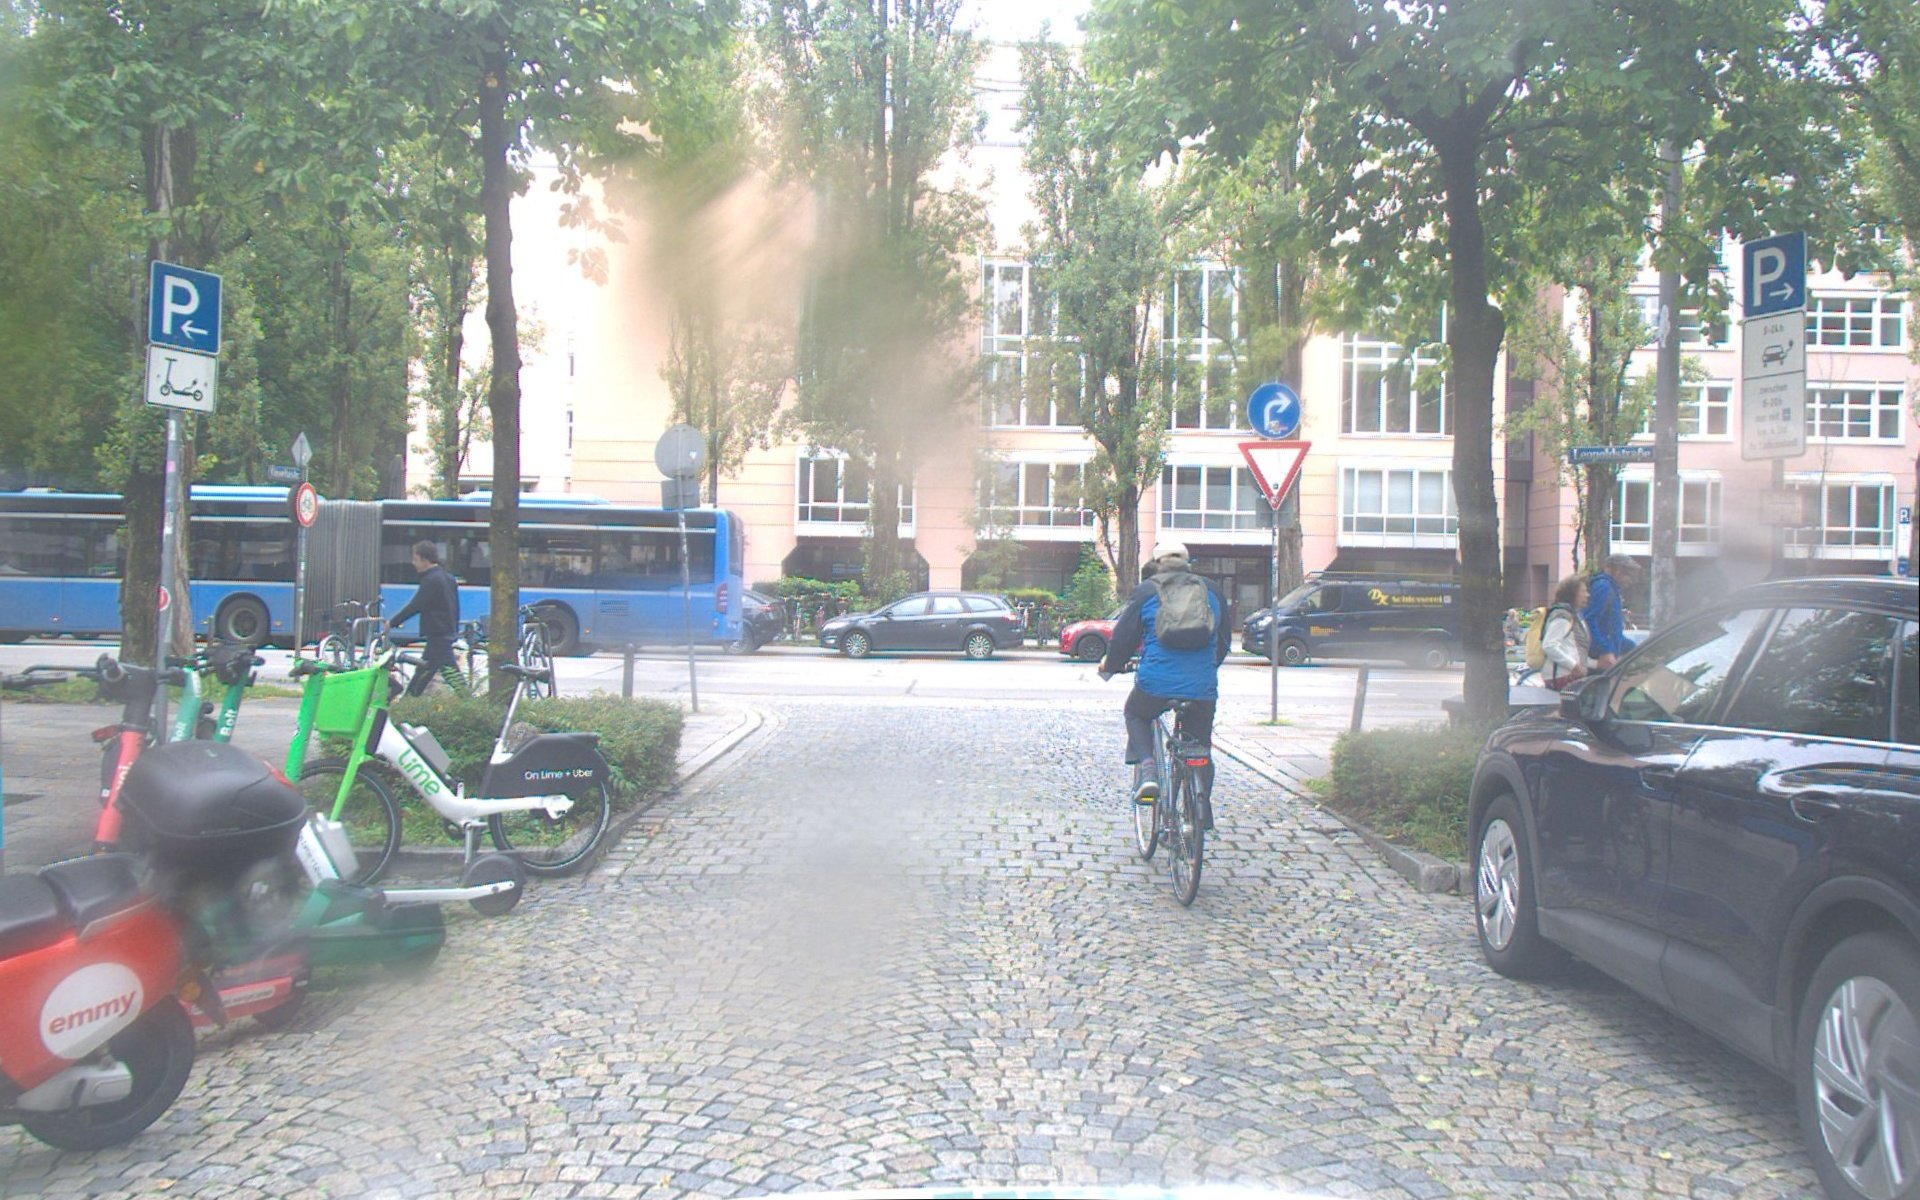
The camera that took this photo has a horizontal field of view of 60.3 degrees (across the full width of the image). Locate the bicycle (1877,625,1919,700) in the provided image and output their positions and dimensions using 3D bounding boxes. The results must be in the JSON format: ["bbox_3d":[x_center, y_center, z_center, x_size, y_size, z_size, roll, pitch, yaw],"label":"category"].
[{"bbox_3d":[11.008,0.705,18.673,0.460,0.832,1.835,1,0,6],"label":"bicycle"}]

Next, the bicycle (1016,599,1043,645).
[{"bbox_3d":[1.793,0.546,42.618,0.660,1.144,1.742,1,0,1],"label":"bicycle"}]

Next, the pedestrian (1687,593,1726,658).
[{"bbox_3d":[20.351,0.694,45.104,0.714,1.743,0.709,1,0,2],"label":"pedestrian"}]

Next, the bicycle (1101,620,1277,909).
[{"bbox_3d":[1.128,0.766,8.521,0.702,1.167,1.902,1,4,3],"label":"bicycle"}]

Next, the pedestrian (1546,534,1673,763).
[{"bbox_3d":[5.044,0.363,12.888,0.786,1.726,0.664,1,0,10],"label":"pedestrian"}]

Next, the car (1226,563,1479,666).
[{"bbox_3d":[9.009,0.316,38.316,5.366,2.235,2.024,1,0,1],"label":"car"}]

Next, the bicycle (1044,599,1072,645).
[{"bbox_3d":[2.518,0.559,42.589,0.660,1.144,1.742,1,0,1],"label":"bicycle"}]

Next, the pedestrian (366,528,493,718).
[{"bbox_3d":[-5.003,0.207,15.651,0.936,1.741,0.858,0,0,-1],"label":"pedestrian"}]

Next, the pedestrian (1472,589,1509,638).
[{"bbox_3d":[15.480,0.393,48.284,0.699,1.393,0.725,1,0,-28],"label":"pedestrian"}]

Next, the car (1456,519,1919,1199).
[{"bbox_3d":[3.178,0.686,5.157,1.881,1.730,4.200,2,0,-1],"label":"car"}]

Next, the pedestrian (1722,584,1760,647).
[{"bbox_3d":[21.944,0.417,46.476,0.714,1.743,0.709,1,0,2],"label":"pedestrian"}]

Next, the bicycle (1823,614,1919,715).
[{"bbox_3d":[10.310,0.697,18.516,0.501,1.056,1.835,1,0,6],"label":"bicycle"}]

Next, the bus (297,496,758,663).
[{"bbox_3d":[-8.355,-0.406,32.741,8.315,3.105,2.927,0,0,0],"label":"bus"}]

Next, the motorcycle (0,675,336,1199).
[{"bbox_3d":[-2.598,0.830,3.895,1.975,1.217,0.759,0,0,-44],"label":"motorcycle"}]

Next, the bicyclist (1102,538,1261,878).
[{"bbox_3d":[1.113,0.520,8.448,0.707,1.647,0.757,1,0,2],"label":"bicyclist"}]

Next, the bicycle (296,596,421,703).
[{"bbox_3d":[-6.626,0.516,18.325,0.479,1.112,1.985,1,0,6],"label":"bicycle"}]

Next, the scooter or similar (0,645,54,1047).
[{"bbox_3d":[-3.342,0.779,5.638,0.385,1.200,1.238,1,0,-31],"label":"scooter or similar"}]

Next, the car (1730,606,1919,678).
[{"bbox_3d":[20.088,0.949,37.816,4.132,1.569,1.807,0,-1,3],"label":"car"}]

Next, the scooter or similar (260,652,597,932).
[{"bbox_3d":[-2.382,0.828,7.454,1.406,1.164,0.367,1,0,-24],"label":"scooter or similar"}]

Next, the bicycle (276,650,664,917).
[{"bbox_3d":[-2.379,0.844,8.109,1.739,1.163,0.548,1,0,-31],"label":"bicycle"}]

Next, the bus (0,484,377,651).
[{"bbox_3d":[-16.847,-0.644,32.718,9.564,3.105,2.927,0,0,0],"label":"bus"}]

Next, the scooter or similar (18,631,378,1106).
[{"bbox_3d":[-2.398,0.770,5.355,0.319,1.295,1.359,1,0,10],"label":"scooter or similar"}]

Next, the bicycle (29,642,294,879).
[{"bbox_3d":[-4.088,0.773,8.613,0.541,1.040,1.762,1,0,-1],"label":"bicycle"}]

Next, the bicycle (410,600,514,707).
[{"bbox_3d":[-5.522,0.569,18.437,0.479,1.112,1.704,1,0,6],"label":"bicycle"}]

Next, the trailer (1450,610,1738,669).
[{"bbox_3d":[14.621,0.893,38.436,5.787,1.220,2.405,1,0,1],"label":"trailer"}]

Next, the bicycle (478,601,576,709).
[{"bbox_3d":[-4.759,0.580,18.269,0.479,1.112,1.704,1,0,6],"label":"bicycle"}]

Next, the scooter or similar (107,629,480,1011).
[{"bbox_3d":[-2.442,0.759,6.111,1.234,1.295,0.324,1,0,-31],"label":"scooter or similar"}]

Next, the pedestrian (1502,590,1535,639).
[{"bbox_3d":[16.244,0.407,48.130,0.714,1.393,0.709,1,0,2],"label":"pedestrian"}]

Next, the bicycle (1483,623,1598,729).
[{"bbox_3d":[6.328,0.803,18.115,0.465,1.069,1.875,1,0,-4],"label":"bicycle"}]

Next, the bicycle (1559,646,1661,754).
[{"bbox_3d":[7.337,1.104,18.747,0.464,1.069,1.877,1,1,2],"label":"bicycle"}]

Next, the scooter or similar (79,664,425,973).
[{"bbox_3d":[-2.804,0.854,6.589,1.221,1.164,0.327,1,0,1],"label":"scooter or similar"}]

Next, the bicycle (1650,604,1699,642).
[{"bbox_3d":[22.471,0.720,52.047,0.660,1.144,2.107,1,0,1],"label":"bicycle"}]

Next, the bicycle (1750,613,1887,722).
[{"bbox_3d":[9.414,0.710,18.213,0.501,1.124,1.931,1,0,0],"label":"bicycle"}]

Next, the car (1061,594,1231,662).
[{"bbox_3d":[4.241,0.622,38.104,3.780,1.474,1.679,1,0,3],"label":"car"}]

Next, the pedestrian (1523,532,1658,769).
[{"bbox_3d":[4.709,0.362,12.387,0.825,1.709,0.611,1,0,10],"label":"pedestrian"}]

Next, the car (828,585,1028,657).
[{"bbox_3d":[-0.705,0.468,38.379,4.513,1.555,1.794,1,0,1],"label":"car"}]

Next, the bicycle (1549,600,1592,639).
[{"bbox_3d":[19.082,0.601,51.735,0.660,1.144,1.989,1,0,1],"label":"bicycle"}]

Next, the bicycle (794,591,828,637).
[{"bbox_3d":[-3.853,0.357,42.896,0.660,1.144,1.989,1,0,1],"label":"bicycle"}]

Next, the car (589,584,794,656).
[{"bbox_3d":[-6.165,0.437,38.304,4.407,1.555,1.794,1,0,1],"label":"car"}]
